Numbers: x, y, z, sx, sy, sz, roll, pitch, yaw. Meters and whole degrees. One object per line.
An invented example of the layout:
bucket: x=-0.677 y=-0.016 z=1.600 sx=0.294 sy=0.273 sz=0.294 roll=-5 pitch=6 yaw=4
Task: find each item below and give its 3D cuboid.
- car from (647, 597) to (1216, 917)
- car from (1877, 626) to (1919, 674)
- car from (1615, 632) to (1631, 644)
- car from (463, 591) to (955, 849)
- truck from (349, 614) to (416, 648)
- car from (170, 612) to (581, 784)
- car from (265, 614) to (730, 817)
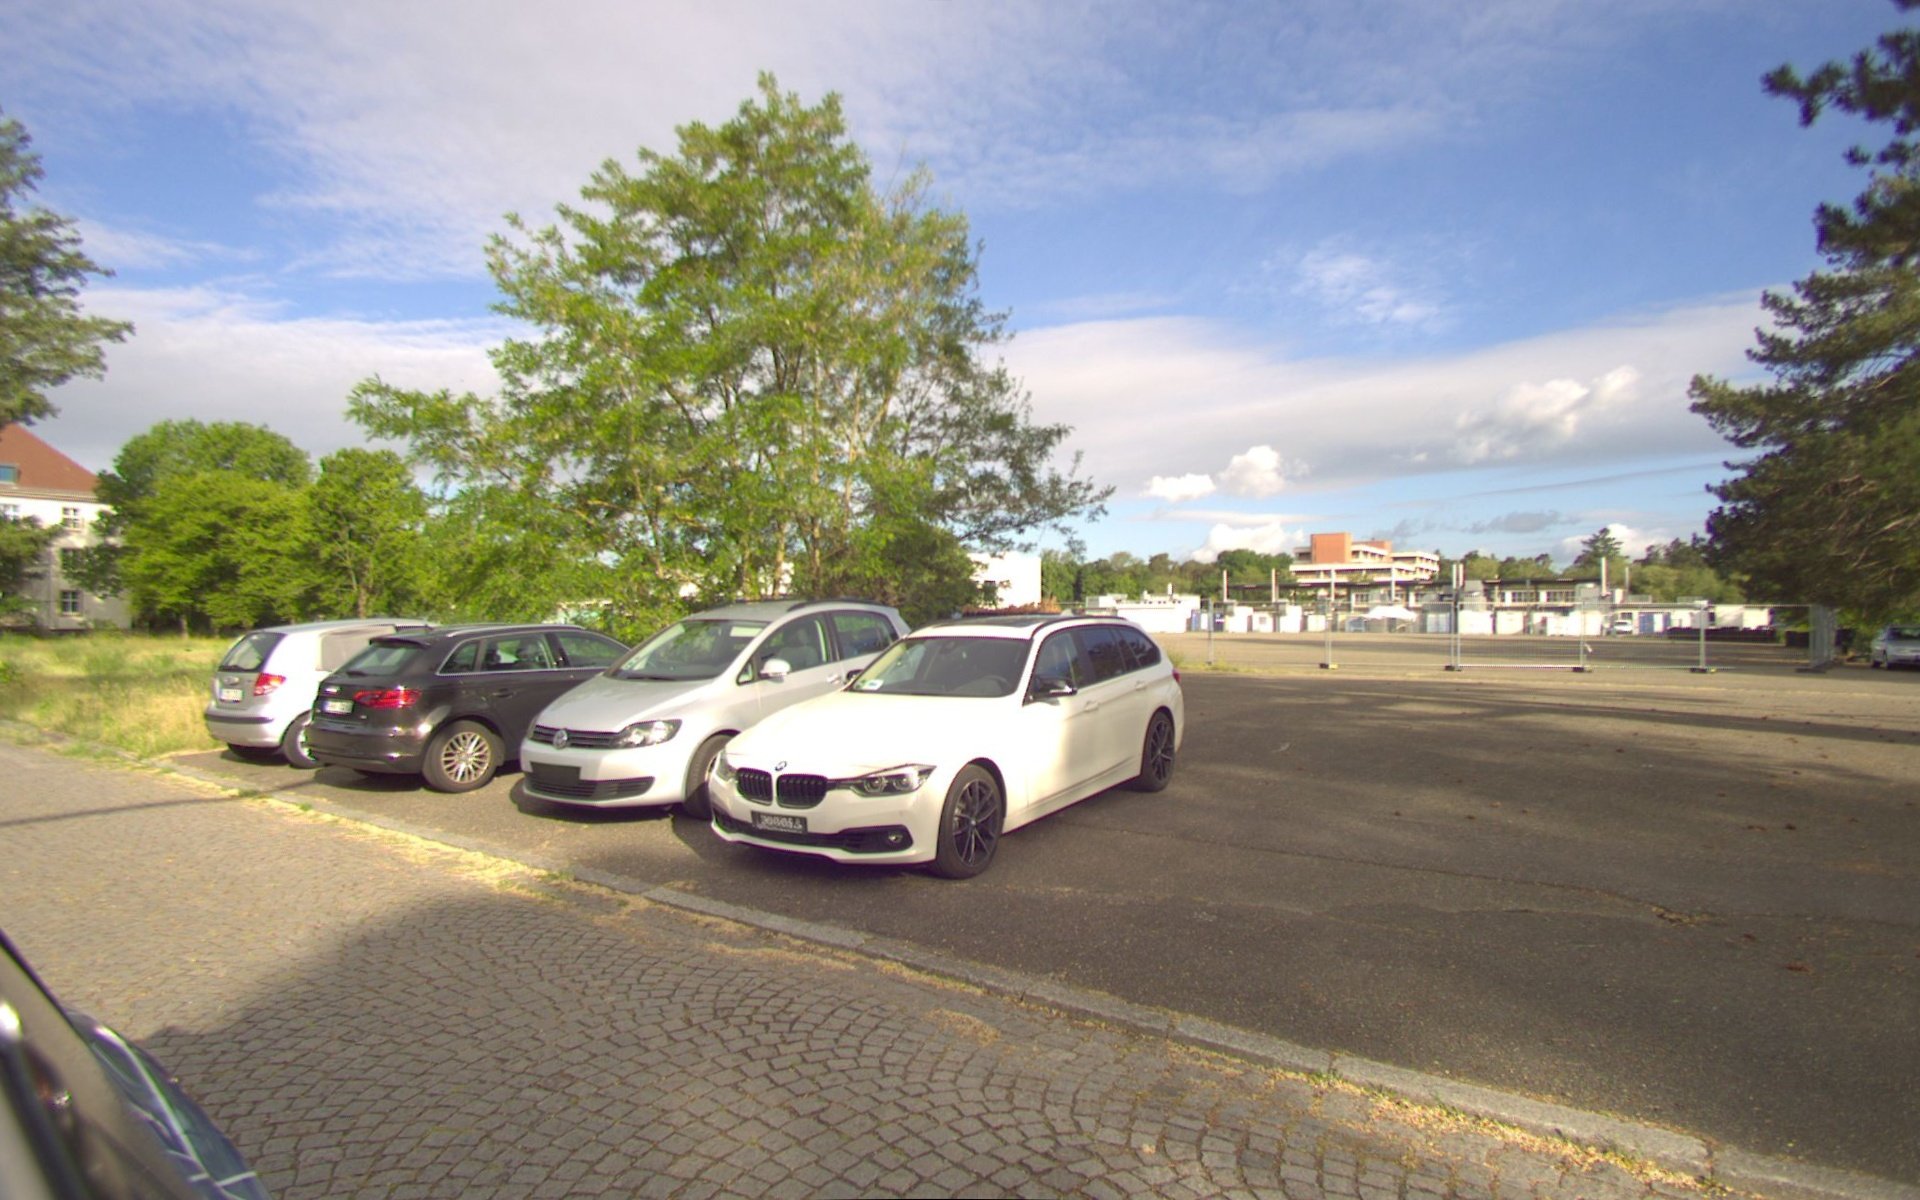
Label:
car: x=0.172 y=0.817 z=7.501 sx=1.898 sy=1.466 sz=4.550 roll=-3 pitch=0 yaw=34
car: x=29.761 y=1.520 z=31.331 sx=1.662 sy=1.392 sz=3.950 roll=0 pitch=-1 yaw=37
car: x=99.915 y=5.682 z=152.544 sx=1.850 sy=1.685 sz=4.153 roll=0 pitch=-1 yaw=32
car: x=-1.914 y=0.791 z=8.947 sx=1.852 sy=1.611 sz=4.091 roll=-1 pitch=1 yaw=32
truck: x=-46.319 y=2.495 z=81.103 sx=6.951 sy=2.607 sz=2.388 roll=-2 pitch=-2 yaw=39
car: x=-6.536 y=0.960 z=11.667 sx=1.845 sy=1.484 sz=3.652 roll=0 pitch=2 yaw=34
car: x=-4.389 y=0.945 z=10.112 sx=1.855 sy=1.440 sz=3.796 roll=0 pitch=2 yaw=35
